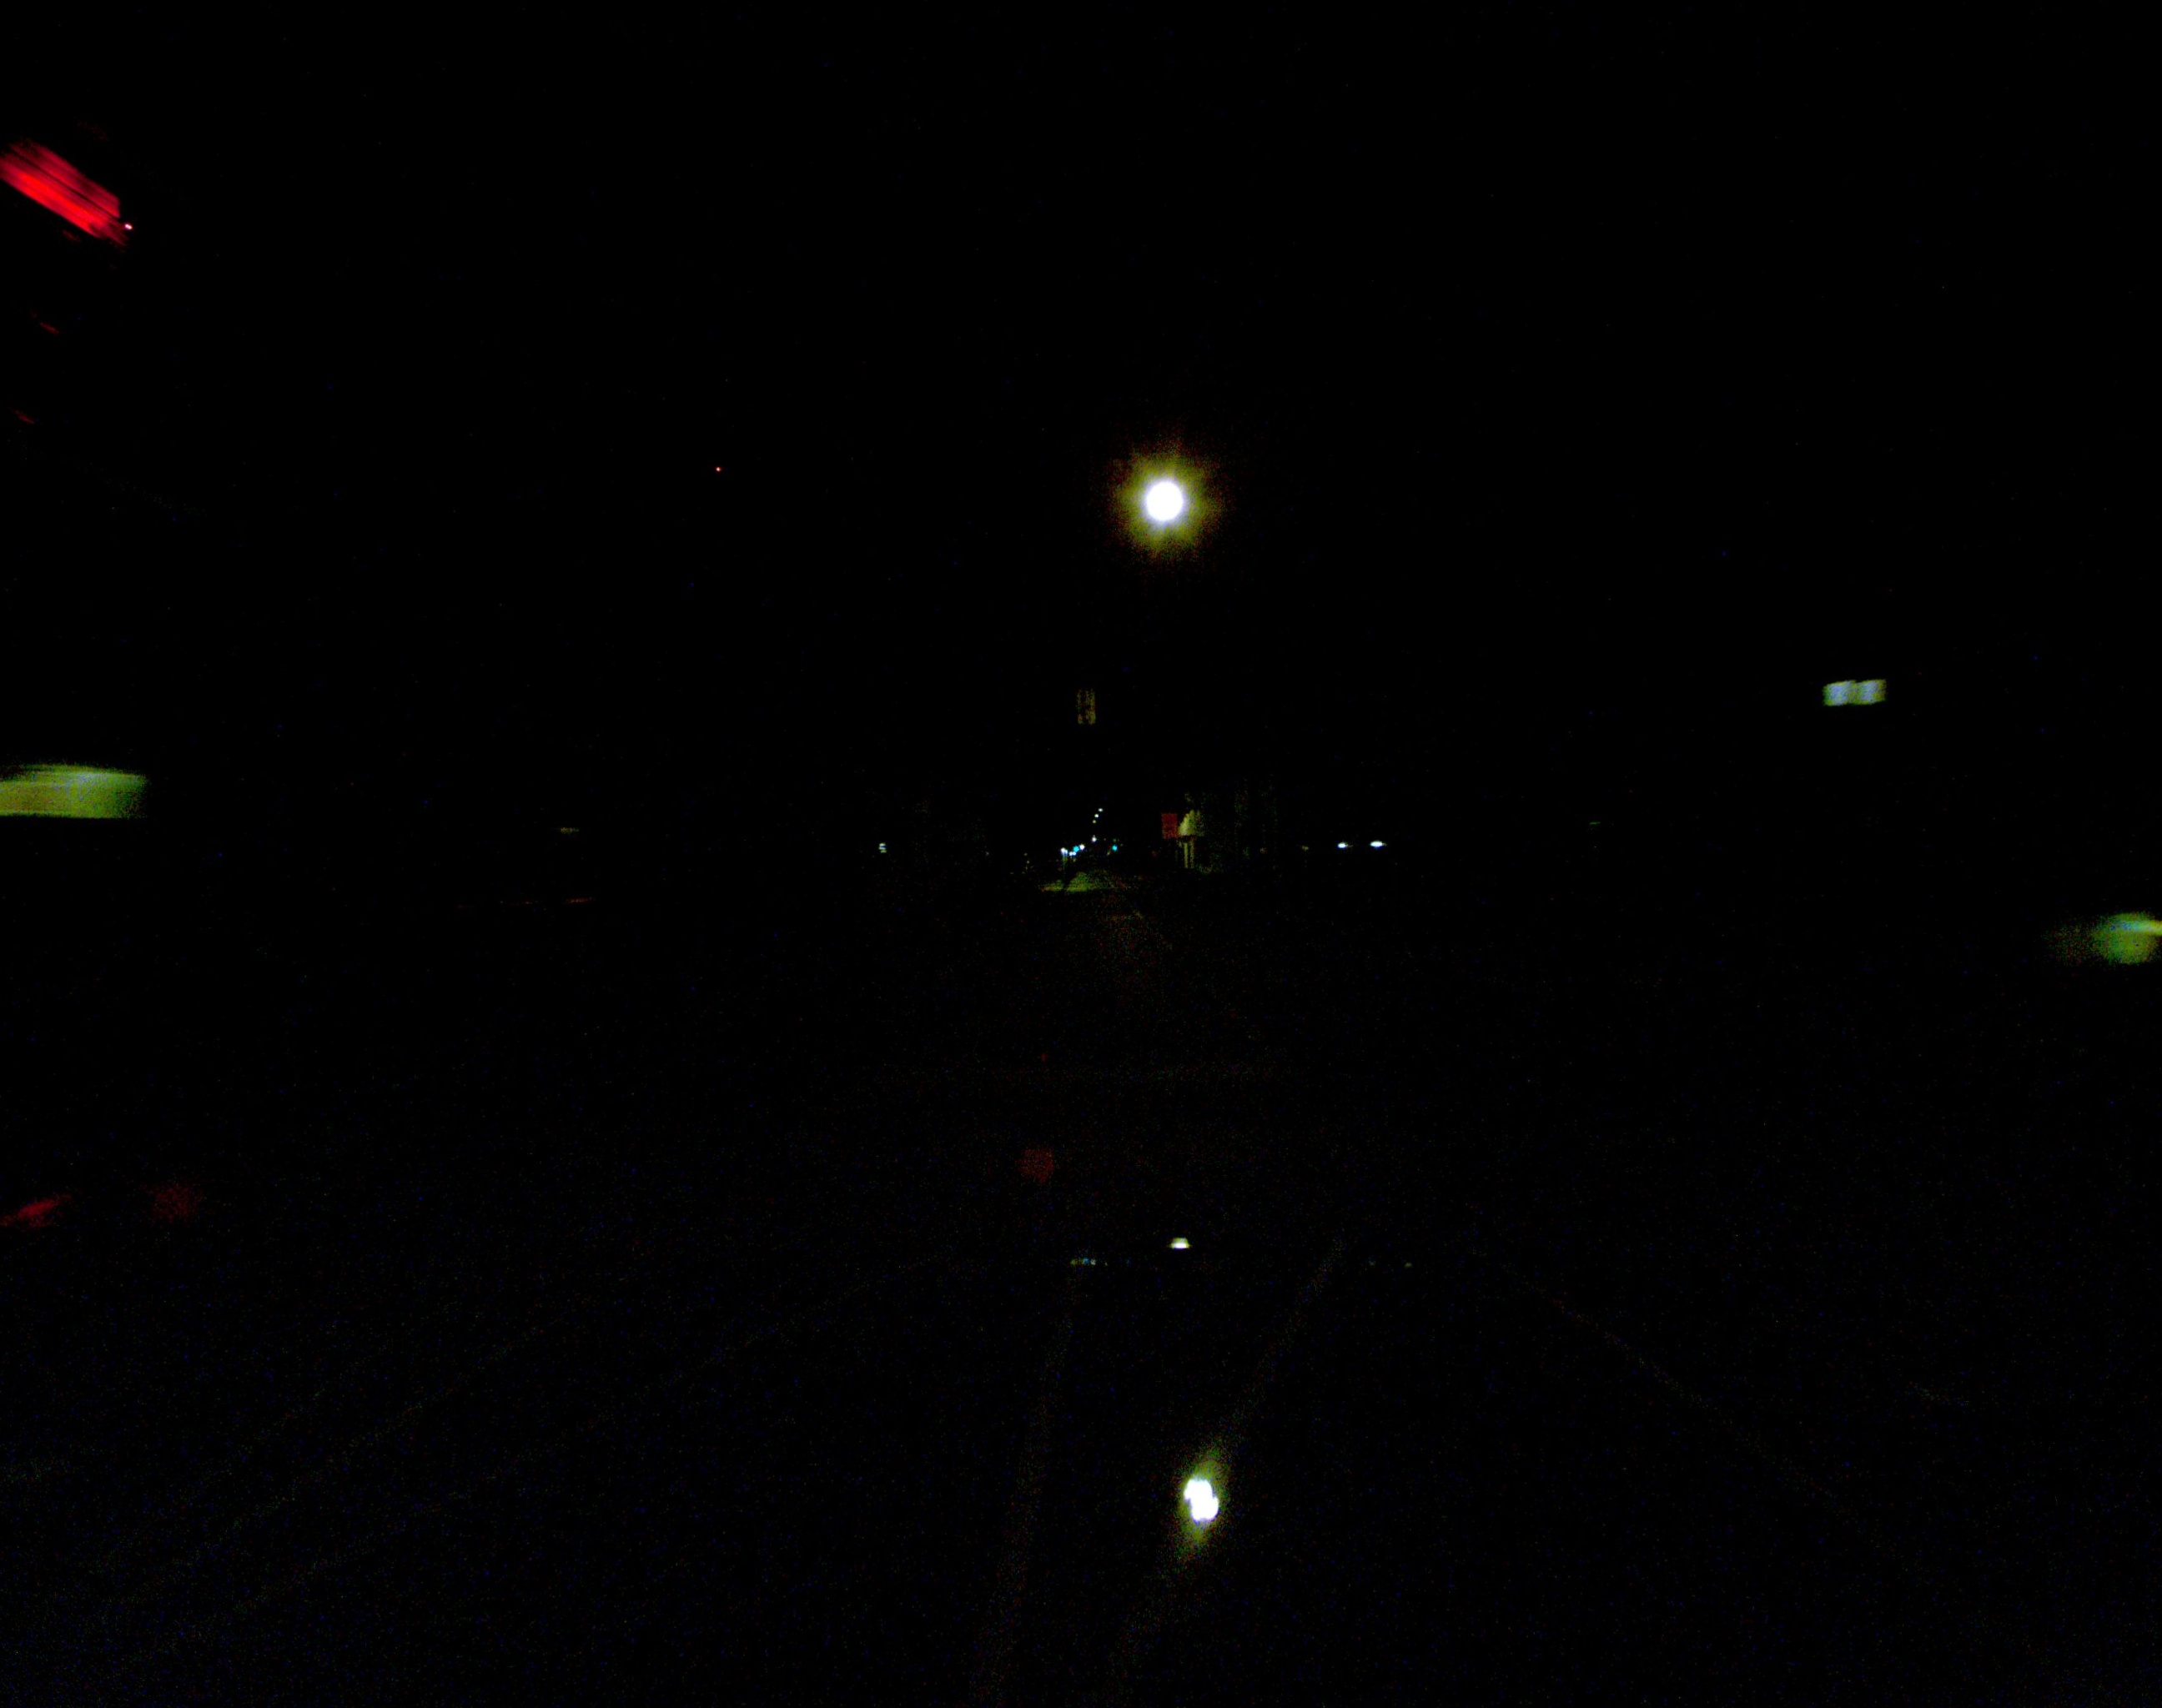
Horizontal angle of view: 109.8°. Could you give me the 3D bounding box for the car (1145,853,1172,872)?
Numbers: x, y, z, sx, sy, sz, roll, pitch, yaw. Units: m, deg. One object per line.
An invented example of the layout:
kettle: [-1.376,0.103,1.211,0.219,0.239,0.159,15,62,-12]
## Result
car: [6.551,0.716,64.557,1.731,1.477,4.291,-3,0,0]

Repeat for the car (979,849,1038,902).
car: [-2.732,0.763,29.633,1.916,1.816,4.899,-2,0,-2]

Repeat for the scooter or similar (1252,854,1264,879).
scooter or similar: [9.058,0.636,38.898,0.332,1.218,1.335,-3,1,3]
